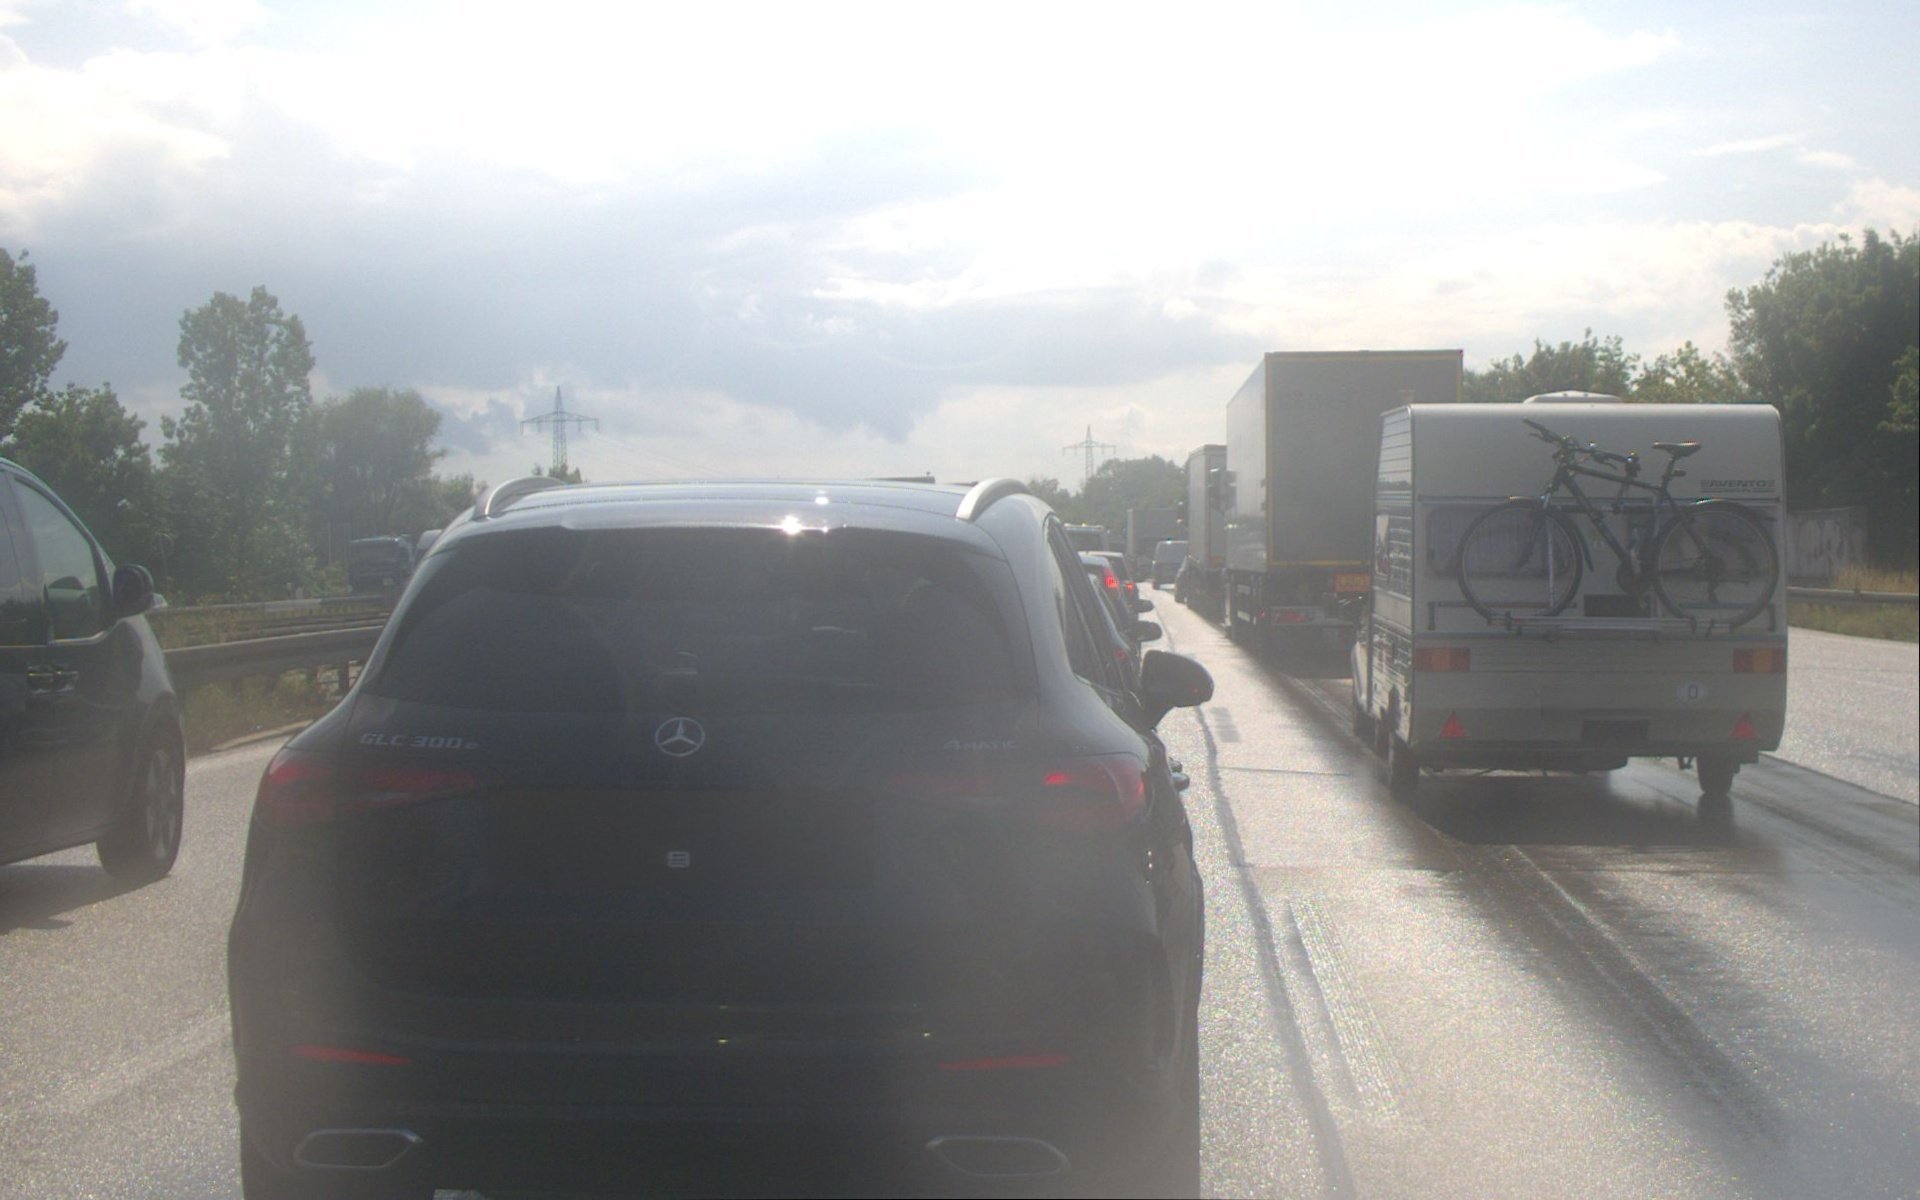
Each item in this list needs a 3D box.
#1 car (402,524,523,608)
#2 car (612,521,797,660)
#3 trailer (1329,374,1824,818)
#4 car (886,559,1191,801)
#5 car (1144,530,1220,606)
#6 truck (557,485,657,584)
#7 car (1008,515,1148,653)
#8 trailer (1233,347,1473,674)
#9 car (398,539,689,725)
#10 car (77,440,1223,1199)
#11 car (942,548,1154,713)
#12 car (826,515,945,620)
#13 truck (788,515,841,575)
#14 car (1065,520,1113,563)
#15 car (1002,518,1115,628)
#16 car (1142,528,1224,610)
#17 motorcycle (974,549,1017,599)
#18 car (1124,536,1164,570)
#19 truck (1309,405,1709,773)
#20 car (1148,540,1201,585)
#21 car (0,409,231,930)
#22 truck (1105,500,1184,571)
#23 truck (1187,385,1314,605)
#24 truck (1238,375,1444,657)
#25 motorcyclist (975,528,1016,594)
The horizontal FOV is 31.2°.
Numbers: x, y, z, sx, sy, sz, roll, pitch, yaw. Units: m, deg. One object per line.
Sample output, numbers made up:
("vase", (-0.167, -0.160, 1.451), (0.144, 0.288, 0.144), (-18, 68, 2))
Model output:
("car", (-12.435, -0.863, 86.302), (1.994, 2.007, 5.558), (-1, 1, 2))
("car", (-3.294, -0.140, 45.067), (1.993, 1.714, 4.000), (1, 1, 2))
("trailer", (3.822, -0.062, 22.648), (2.374, 2.475, 6.522), (1, 1, 3))
("car", (0.587, 0.438, 21.910), (1.757, 1.382, 3.944), (0, 1, 4))
("car", (6.388, -0.923, 98.816), (1.994, 2.007, 4.000), (4, 1, 4))
("truck", (-14.030, -2.545, 137.151), (2.862, 3.808, 7.877), (0, 0, 3))
("car", (1.924, -0.275, 54.980), (1.994, 2.007, 4.000), (4, 1, 4))
("trailer", (5.394, -1.202, 48.069), (3.007, 4.152, 8.534), (1, 1, 5))
("car", (-3.562, 0.223, 30.089), (1.757, 1.511, 4.208), (0, 1, 4))
("car", (-0.432, 0.526, 8.149), (1.994, 1.656, 4.405), (0, 1, 3))
("car", (0.873, 0.236, 31.649), (1.806, 1.402, 4.000), (1, 1, 3))
("car", (-1.509, -0.685, 71.260), (1.994, 2.007, 4.000), (4, 1, 4))
("truck", (-10.307, -3.881, 243.909), (3.005, 4.089, 7.686), (-2, 1, 3))
("car", (5.382, -2.442, 143.991), (1.876, 1.754, 4.000), (1, 1, 0))
("car", (1.900, -0.526, 65.348), (1.994, 2.007, 4.000), (0, 1, 4))
("car", (5.734, -0.805, 88.346), (1.994, 2.007, 4.000), (2, 1, 4))
("motorcycle", (0.934, -0.684, 89.574), (1.074, 1.267, 2.690), (0, 1, 1))
("car", (9.612, -2.466, 179.783), (1.876, 1.754, 4.000), (1, 1, 0))
("truck", (4.010, -0.113, 26.197), (2.374, 2.468, 5.755), (1, 1, 3))
("car", (8.598, -1.493, 138.104), (1.876, 1.754, 4.000), (1, 1, 0))
("car", (-4.660, 0.260, 13.849), (1.994, 2.007, 5.269), (0, 1, 4))
("truck", (10.807, -3.760, 202.144), (3.842, 4.003, 11.222), (1, 1, -1))
("truck", (6.647, -2.361, 79.472), (2.502, 4.813, 7.543), (1, 1, 2))
("truck", (5.882, -1.285, 53.564), (2.996, 4.152, 5.239), (1, 1, 5))
("motorcyclist", (0.934, -1.021, 89.660), (1.064, 1.712, 0.785), (0, 1, 1))
